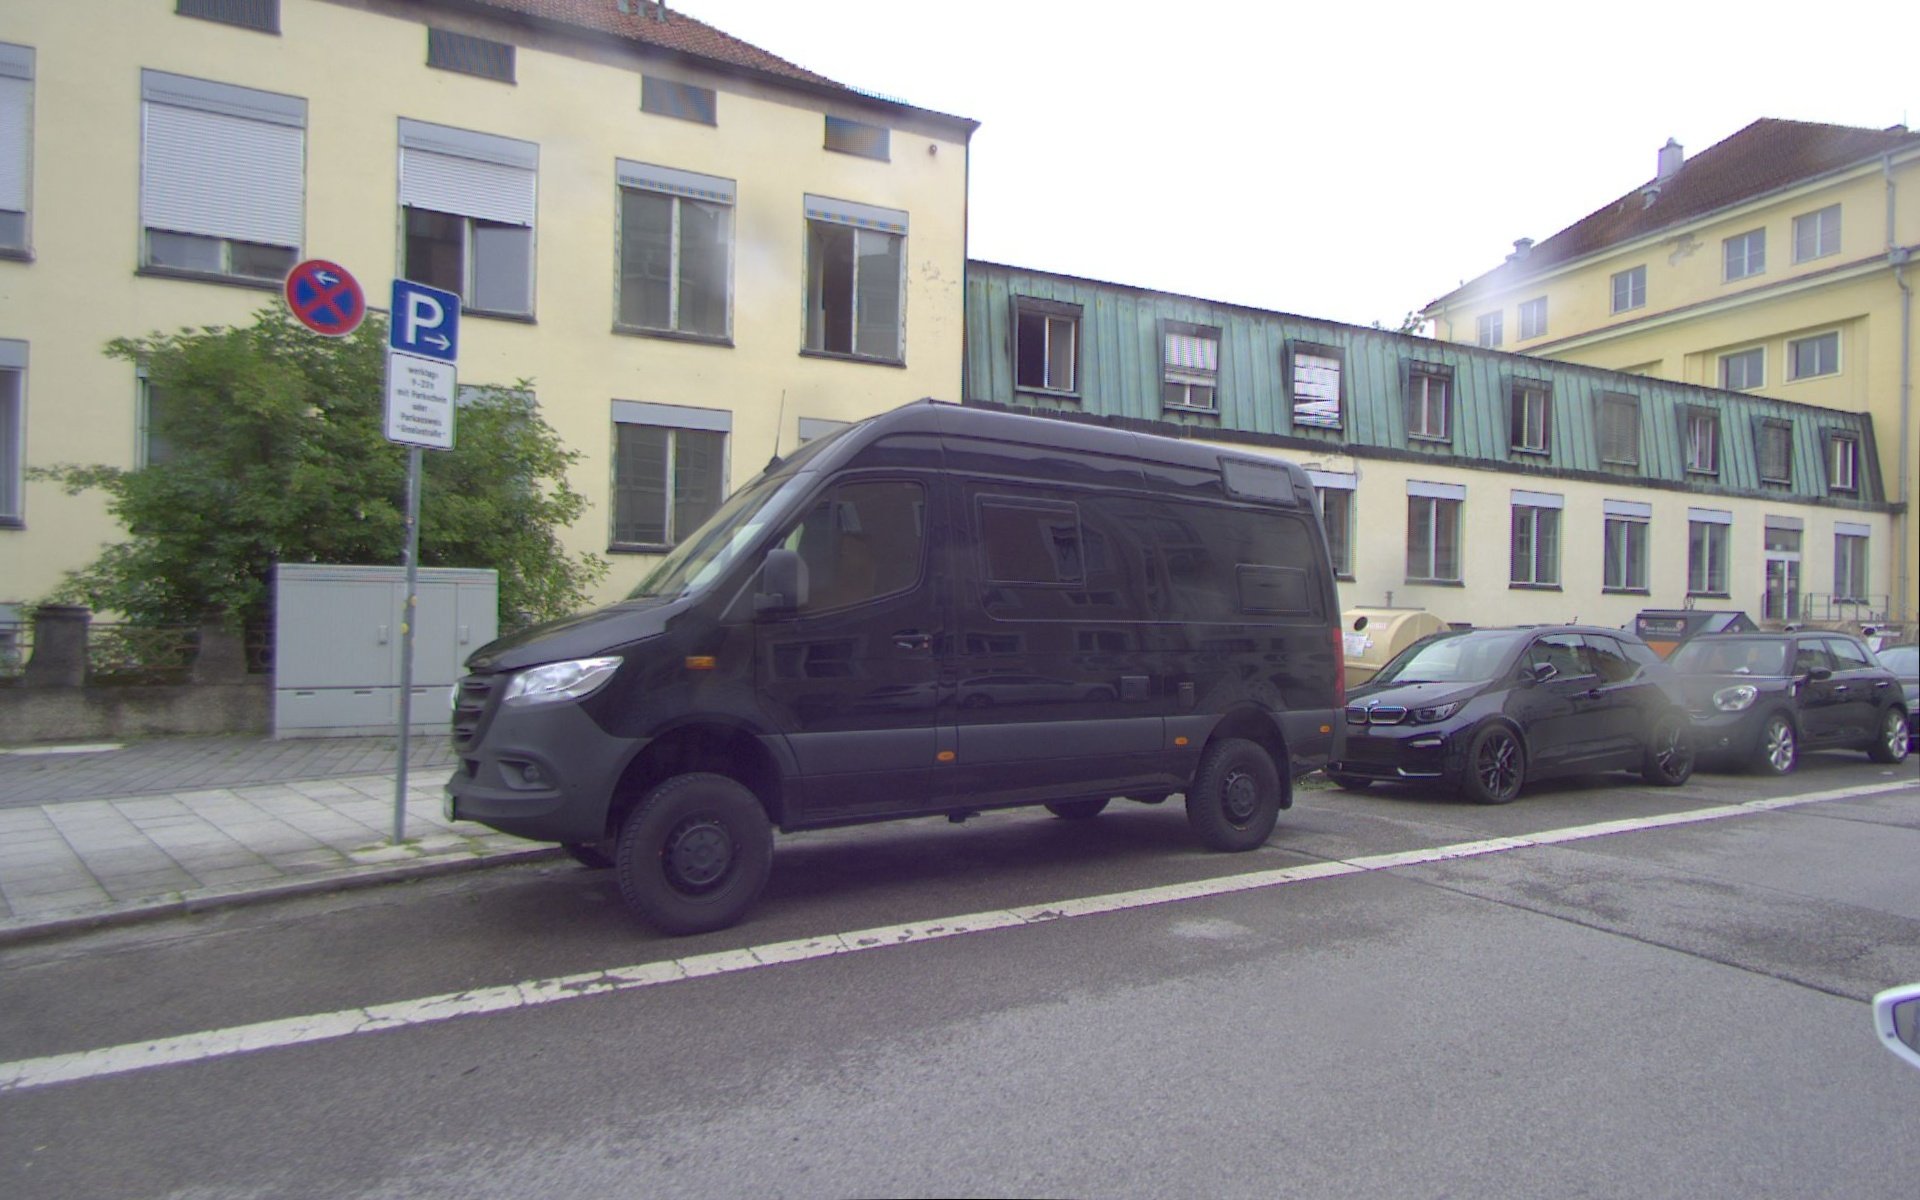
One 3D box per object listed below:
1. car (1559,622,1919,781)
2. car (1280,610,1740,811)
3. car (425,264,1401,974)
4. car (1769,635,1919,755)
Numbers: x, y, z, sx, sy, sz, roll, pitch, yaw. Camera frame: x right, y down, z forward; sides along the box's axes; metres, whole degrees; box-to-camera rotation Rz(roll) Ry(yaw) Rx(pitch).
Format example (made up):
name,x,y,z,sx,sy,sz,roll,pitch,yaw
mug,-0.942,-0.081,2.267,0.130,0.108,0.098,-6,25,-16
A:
name,x,y,z,sx,sy,sz,roll,pitch,yaw
car,9.512,1.118,12.077,4.295,1.608,1.908,0,-4,-27
car,5.535,1.007,10.085,4.291,1.657,1.875,1,-4,-26
car,0.014,0.195,6.651,6.127,2.891,2.202,2,-4,-32
car,13.772,1.260,14.057,4.467,1.501,1.910,1,-4,-23
